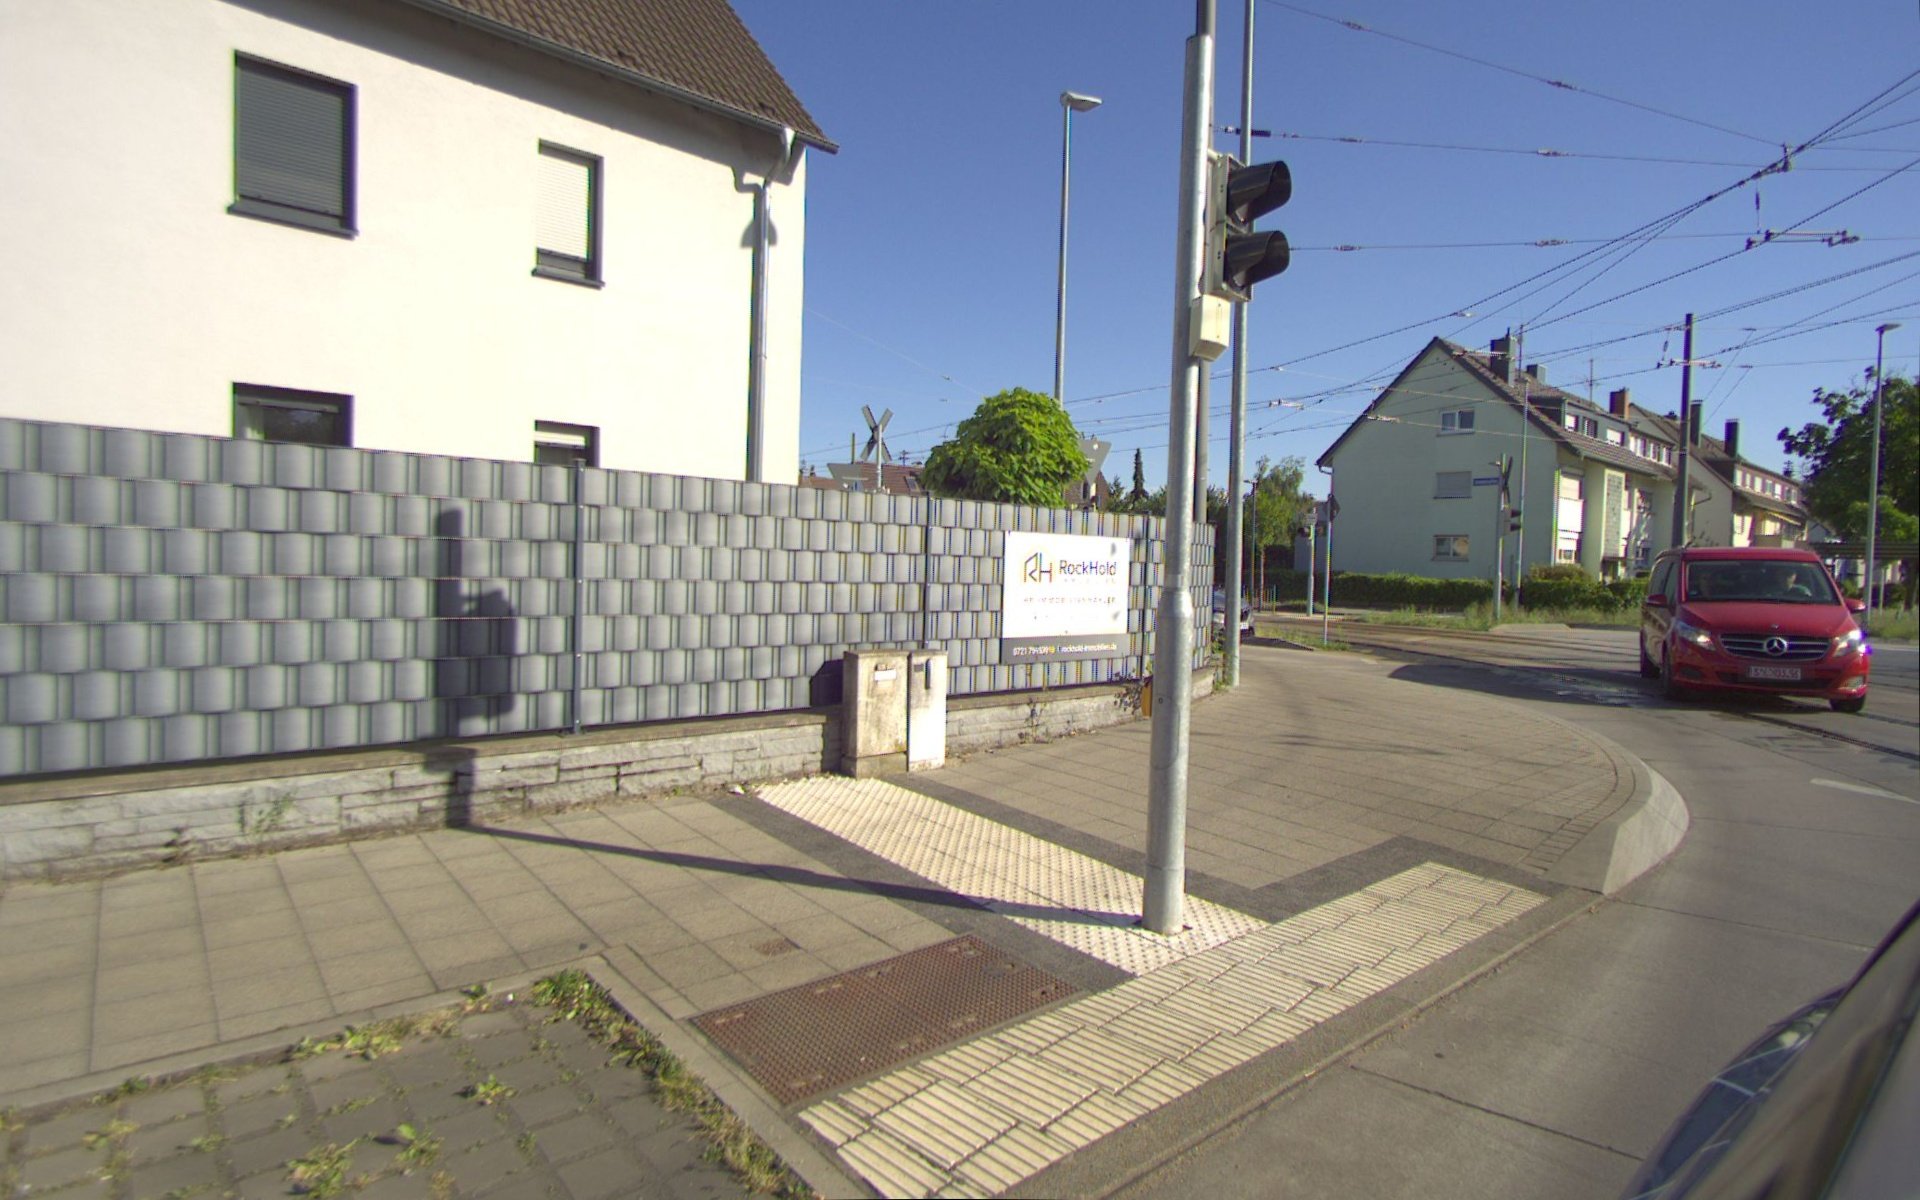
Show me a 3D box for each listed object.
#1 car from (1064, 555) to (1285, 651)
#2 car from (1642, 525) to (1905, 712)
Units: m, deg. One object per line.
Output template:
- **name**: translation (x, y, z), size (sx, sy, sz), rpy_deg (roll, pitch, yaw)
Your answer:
- **car**: translation (4.042, -0.027, 19.641), size (1.796, 1.598, 4.001), rpy_deg (0, 3, -35)
- **car**: translation (10.606, 0.130, 13.641), size (1.983, 2.006, 5.182), rpy_deg (1, 2, 30)
